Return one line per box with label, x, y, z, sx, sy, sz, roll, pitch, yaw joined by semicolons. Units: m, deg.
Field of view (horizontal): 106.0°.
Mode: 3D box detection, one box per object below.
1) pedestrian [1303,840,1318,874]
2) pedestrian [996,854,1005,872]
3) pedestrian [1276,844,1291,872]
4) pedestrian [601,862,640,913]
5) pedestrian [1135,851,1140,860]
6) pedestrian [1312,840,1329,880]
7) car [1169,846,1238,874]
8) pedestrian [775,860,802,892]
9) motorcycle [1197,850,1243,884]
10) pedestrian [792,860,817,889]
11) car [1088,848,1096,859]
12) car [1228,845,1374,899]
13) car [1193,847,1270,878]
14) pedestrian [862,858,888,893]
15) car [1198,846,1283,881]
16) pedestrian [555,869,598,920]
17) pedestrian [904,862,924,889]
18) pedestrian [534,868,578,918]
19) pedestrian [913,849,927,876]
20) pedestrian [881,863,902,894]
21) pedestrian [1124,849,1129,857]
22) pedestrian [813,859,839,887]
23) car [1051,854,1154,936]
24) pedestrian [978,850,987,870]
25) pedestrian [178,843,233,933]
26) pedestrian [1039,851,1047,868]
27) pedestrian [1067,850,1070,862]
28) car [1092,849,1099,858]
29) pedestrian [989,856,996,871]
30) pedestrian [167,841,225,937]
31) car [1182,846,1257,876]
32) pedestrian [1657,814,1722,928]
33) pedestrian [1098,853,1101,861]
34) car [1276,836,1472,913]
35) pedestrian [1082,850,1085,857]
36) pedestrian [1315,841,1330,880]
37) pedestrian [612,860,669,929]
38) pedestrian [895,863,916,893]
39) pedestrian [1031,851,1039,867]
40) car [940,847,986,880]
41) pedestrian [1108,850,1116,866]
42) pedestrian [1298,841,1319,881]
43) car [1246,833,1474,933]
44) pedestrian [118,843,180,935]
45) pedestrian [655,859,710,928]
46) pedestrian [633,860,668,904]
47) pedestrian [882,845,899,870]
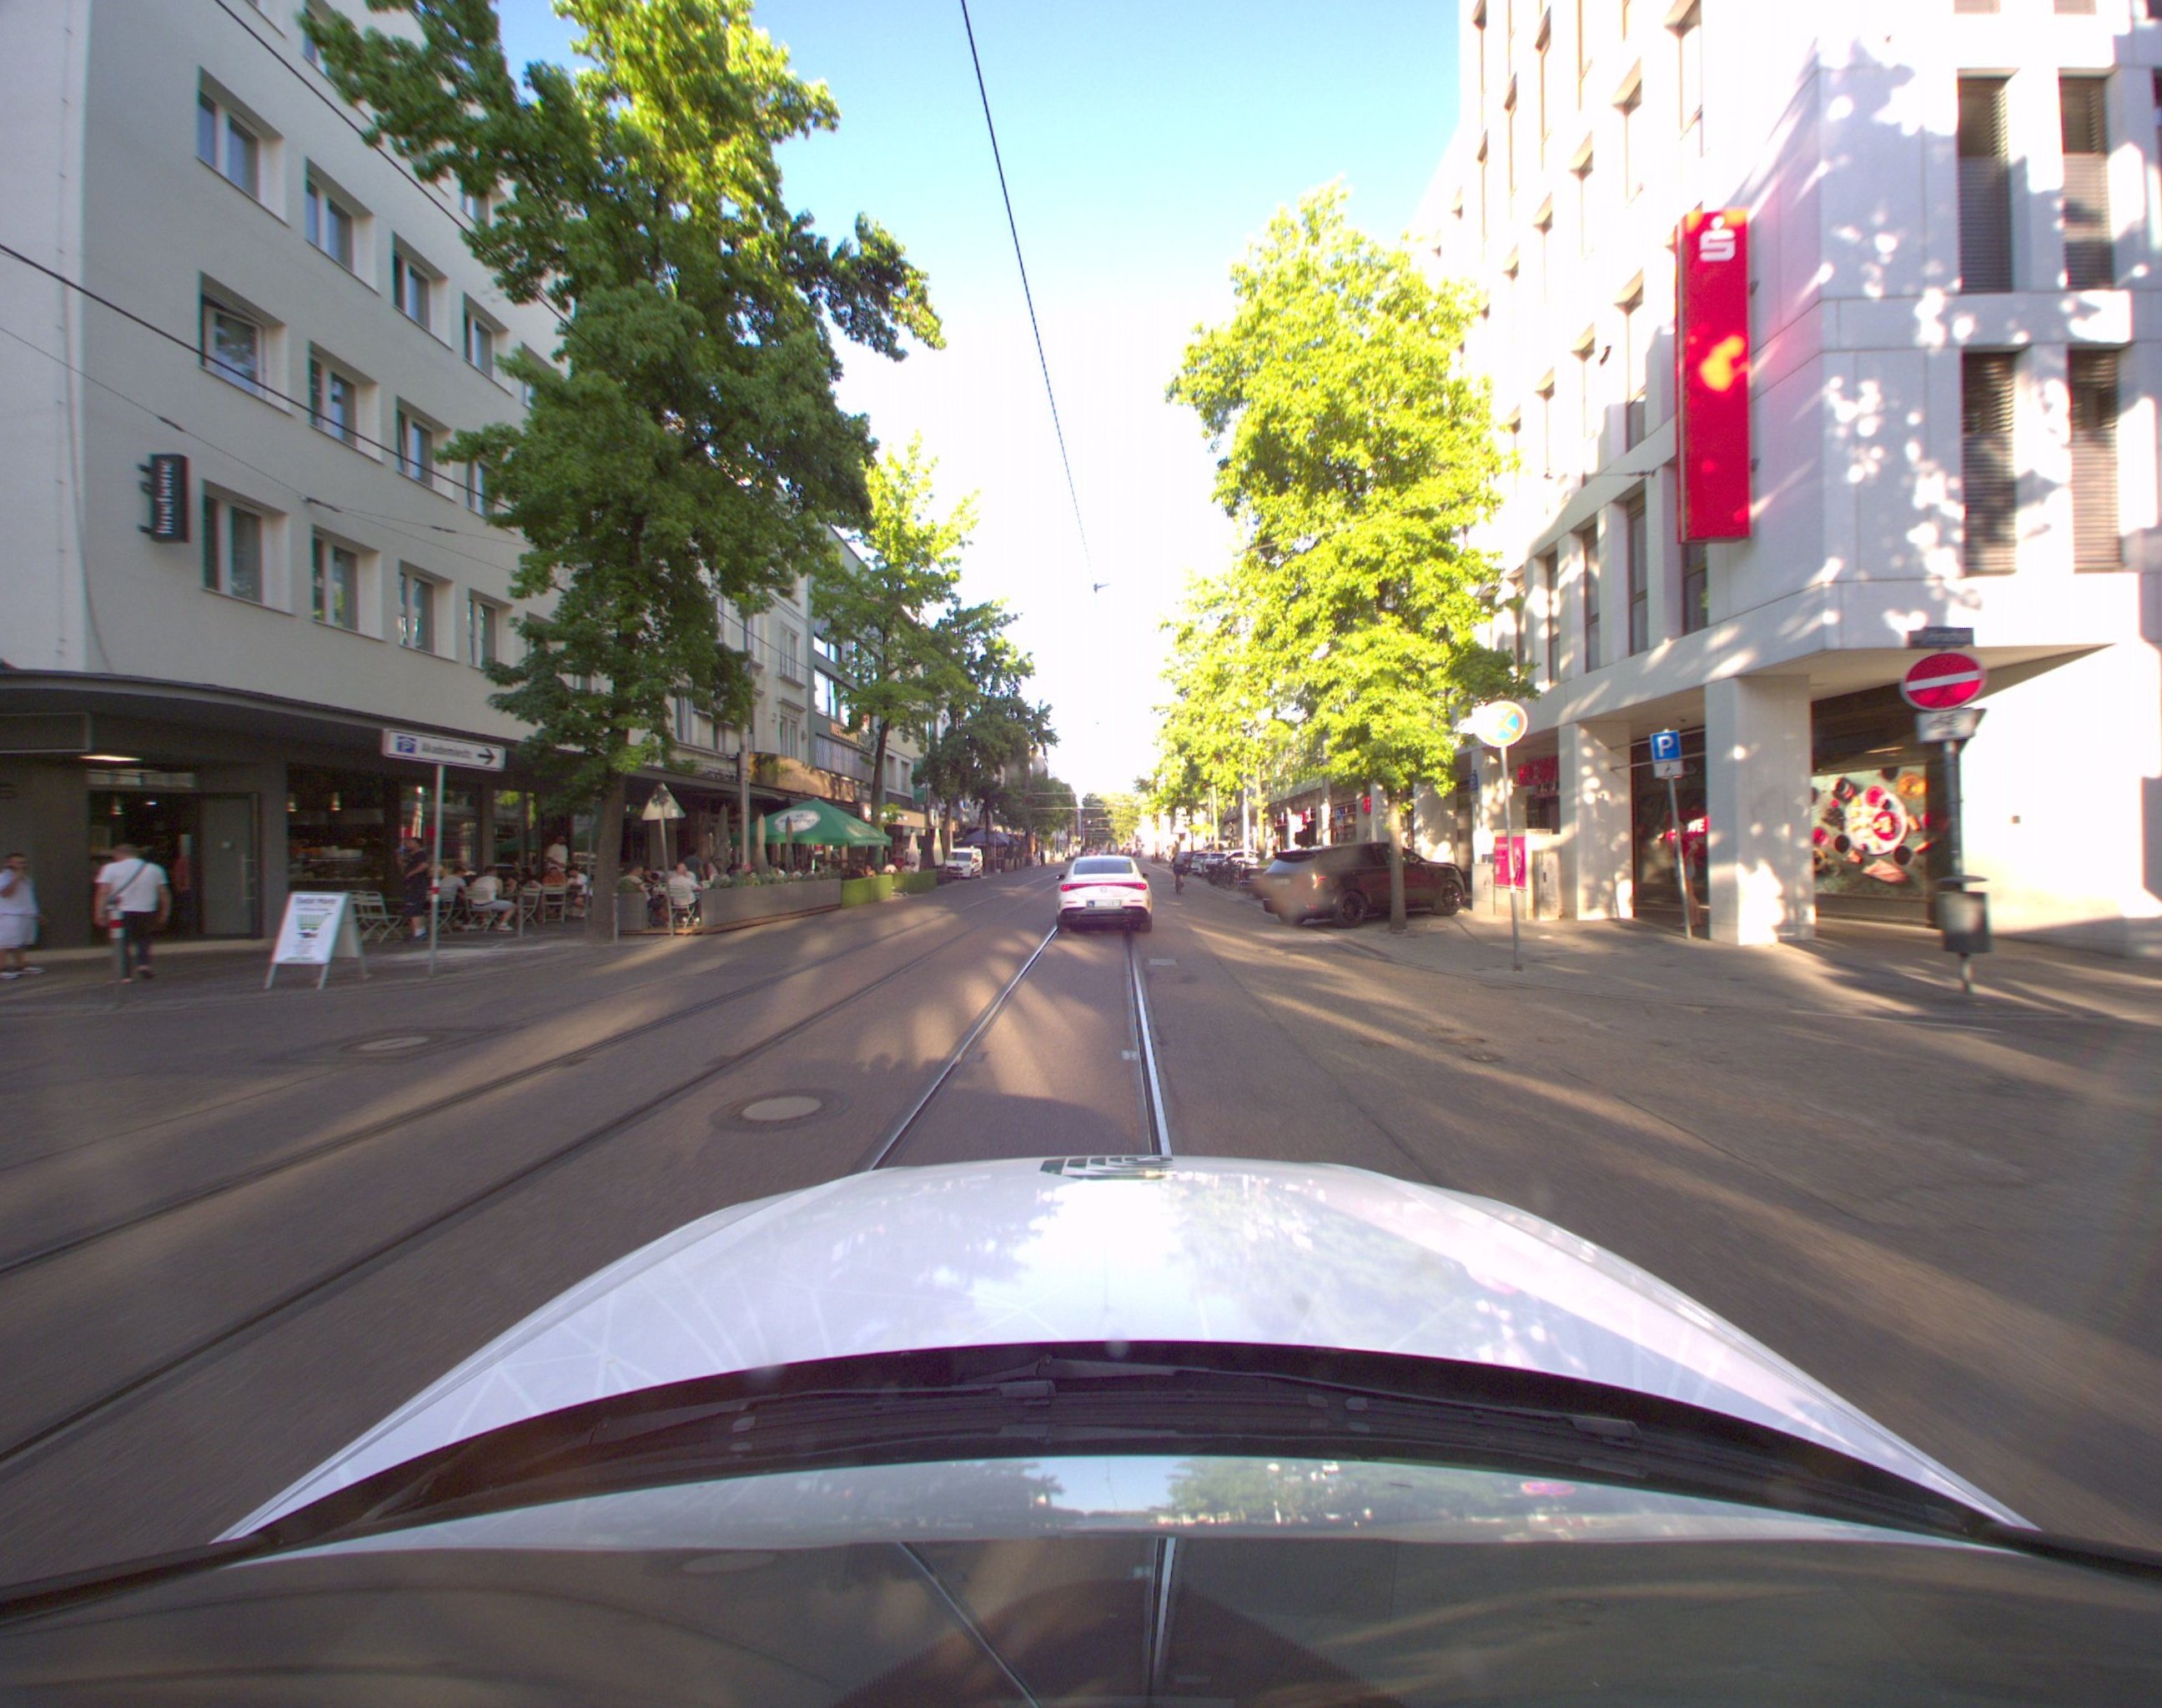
pedestrian;11.994;0.168;42.601;0.555;1.750;0.525;-3;0;2
pedestrian;-6.186;0.717;62.542;0.547;1.356;0.583;0;0;1
pedestrian;12.294;0.248;49.489;0.711;1.624;0.883;-2;0;4
pedestrian;-12.128;0.879;21.448;0.599;1.298;0.687;1;0;3
pedestrian;11.739;0.247;170.131;0.957;1.785;0.804;-3;0;2
pedestrian;10.613;0.260;36.048;0.521;1.750;0.559;-3;0;4
car;8.179;0.391;54.373;4.369;1.652;1.679;-3;0;-29
pedestrian;-11.550;0.843;32.172;0.733;1.214;0.788;2;0;2
motorcycle;6.811;0.637;39.737;2.332;1.509;0.849;-3;-1;-41
pedestrian;-11.421;0.849;33.596;0.697;1.168;0.788;2;0;2
car;3.075;-0.203;224.682;1.985;2.897;5.279;-1;0;3
car;7.662;0.602;28.195;5.081;1.469;1.956;-4;0;-34
car;8.784;0.486;47.580;4.163;1.499;1.677;-3;0;-22
pedestrian;-8.274;0.842;32.709;0.751;1.343;0.873;2;0;2
car;8.409;0.496;42.899;4.174;1.571;1.836;-3;0;-31
pedestrian;-11.877;0.945;19.200;0.550;1.161;0.687;1;0;3
pedestrian;-7.437;0.957;36.371;0.654;1.193;0.798;2;0;2
pedestrian;-12.443;0.916;19.319;0.550;1.161;0.687;1;0;3
pedestrian;-9.552;0.485;48.259;0.645;1.574;0.700;2;0;2
pedestrian;-8.247;1.063;35.486;0.654;1.293;0.798;2;0;2
pedestrian;9.770;-0.190;174.219;0.957;1.785;0.804;-3;0;2
pedestrian;-11.298;0.855;36.139;0.750;1.188;1.065;2;0;2
car;0.468;0.739;16.743;1.850;1.455;4.177;0;0;2
pedestrian;-7.841;0.482;64.813;0.671;1.607;0.720;0;0;1
pedestrian;-15.833;0.599;14.737;0.399;1.604;0.625;-1;0;36
pedestrian;-3.642;0.506;78.233;0.619;1.550;0.853;1;0;3
pedestrian;-2.103;0.318;137.409;0.536;1.929;0.574;-1;0;6
car;4.411;-0.203;243.413;1.902;2.461;5.279;-1;0;3
pedestrian;-6.949;0.748;63.931;0.493;1.228;0.535;0;0;1
pedestrian;-15.260;0.589;14.052;0.399;1.604;0.625;-1;0;36
car;8.569;0.432;50.337;4.261;1.587;1.867;-3;0;-29
pedestrian;10.133;0.280;13.593;0.746;1.818;0.808;-4;-2;35
pedestrian;4.056;0.661;178.050;0.797;1.782;0.849;1;0;1
car;7.697;0.487;21.433;4.670;1.655;1.994;-3;0;-22
pedestrian;0.599;-0.162;181.457;0.657;1.599;0.573;-1;0;1
pedestrian;10.689;0.297;36.023;0.514;1.696;0.551;-1;0;7
pedestrian;-9.047;0.815;16.765;0.686;1.386;0.807;1;0;3
pedestrian;-7.625;1.033;35.423;0.654;1.244;0.873;2;0;2
pedestrian;-4.346;0.474;77.366;0.619;1.509;0.834;1;0;3
car;-7.102;0.540;49.375;1.788;1.864;4.558;2;0;3
pedestrian;3.489;0.456;91.900;0.838;1.801;0.791;1;0;3
pedestrian;9.964;0.303;35.705;0.679;1.696;0.548;-1;0;-10
car;6.153;0.566;17.865;4.678;1.763;1.977;-4;0;-27
pedestrian;-16.658;0.607;14.562;0.501;1.604;0.616;-1;0;-24
pedestrian;-8.259;0.804;16.890;0.686;1.386;0.807;1;0;3
pedestrian;-11.759;0.747;22.244;0.550;1.161;0.687;1;0;3
pedestrian;-11.387;0.216;48.777;0.767;1.467;0.765;2;0;0
